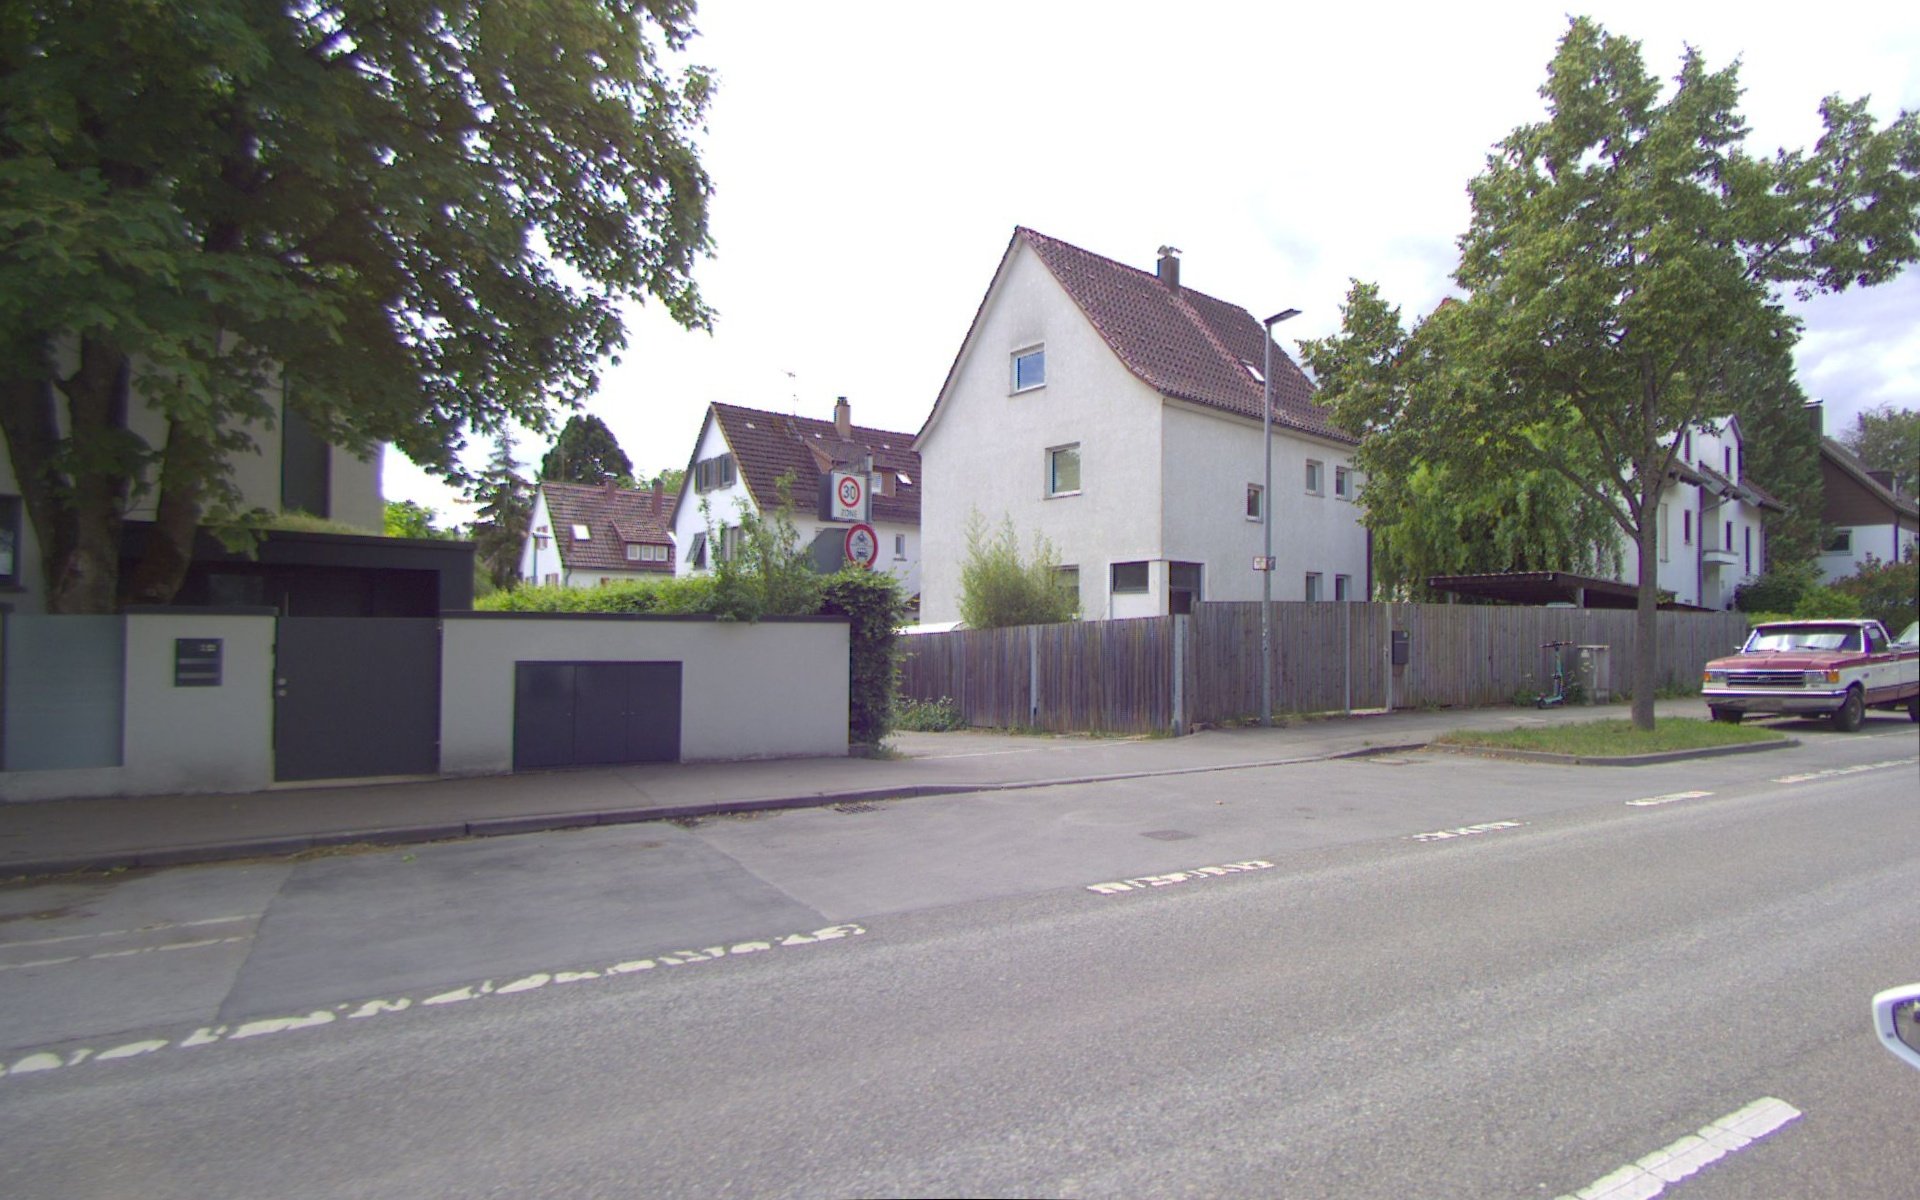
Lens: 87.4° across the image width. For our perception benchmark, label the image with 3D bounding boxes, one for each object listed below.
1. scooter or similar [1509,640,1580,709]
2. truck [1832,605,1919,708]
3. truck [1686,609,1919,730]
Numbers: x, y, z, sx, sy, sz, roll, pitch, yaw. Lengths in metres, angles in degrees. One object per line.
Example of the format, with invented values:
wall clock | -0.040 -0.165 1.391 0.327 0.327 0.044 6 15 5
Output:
scooter or similar | 11.078 1.389 19.037 1.291 1.228 0.631 2 0 -34
truck | 21.821 1.184 21.990 5.926 2.070 2.411 1 -2 -31
truck | 15.525 1.195 17.985 5.598 1.892 1.958 1 -4 -30
